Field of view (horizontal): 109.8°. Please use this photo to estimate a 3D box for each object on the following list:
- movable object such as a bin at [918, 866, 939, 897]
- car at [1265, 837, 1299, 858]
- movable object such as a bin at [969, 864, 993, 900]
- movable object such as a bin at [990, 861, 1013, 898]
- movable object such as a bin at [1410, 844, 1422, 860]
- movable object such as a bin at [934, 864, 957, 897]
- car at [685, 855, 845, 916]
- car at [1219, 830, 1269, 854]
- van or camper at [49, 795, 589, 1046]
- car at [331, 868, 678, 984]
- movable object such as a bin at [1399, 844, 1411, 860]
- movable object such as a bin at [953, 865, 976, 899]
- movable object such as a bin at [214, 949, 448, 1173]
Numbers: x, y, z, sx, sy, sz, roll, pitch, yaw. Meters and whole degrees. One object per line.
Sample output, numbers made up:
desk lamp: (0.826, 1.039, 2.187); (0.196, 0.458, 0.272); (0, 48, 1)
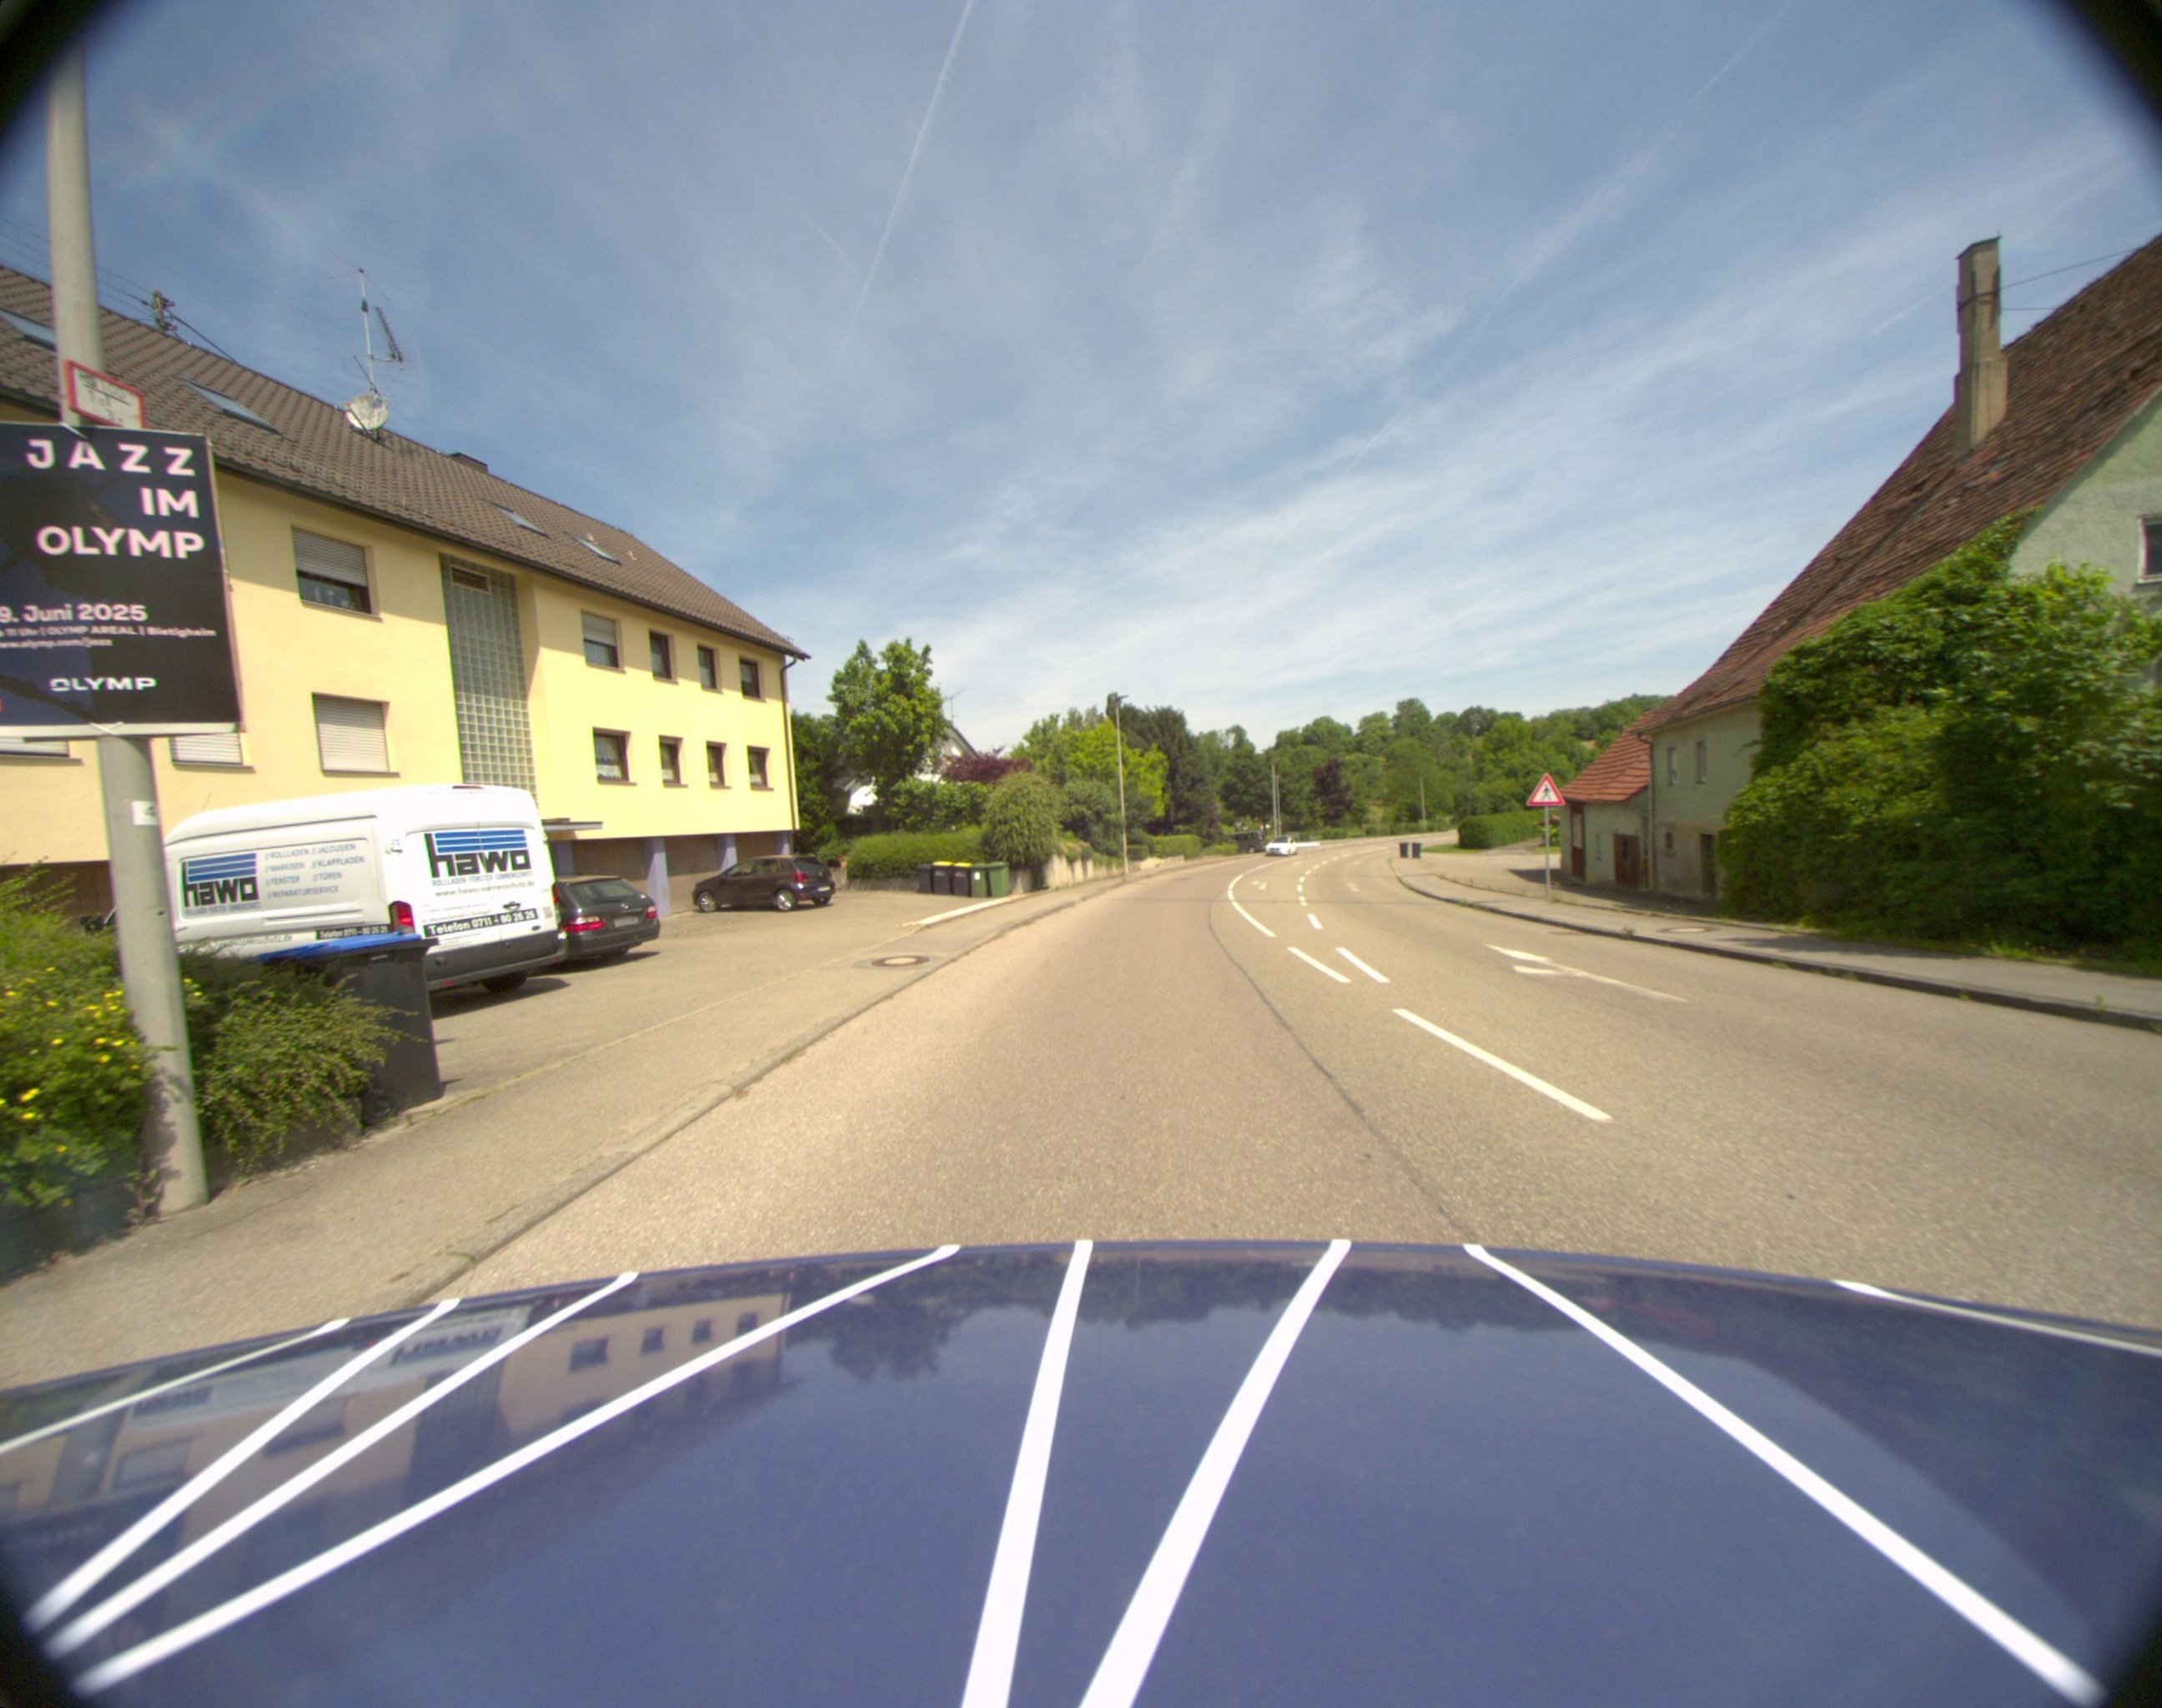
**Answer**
movable object such as a bin: (-4.809, 0.858, 24.022); (0.449, 0.950, 0.516); (2, 2, 15)
car: (16.243, -0.557, 61.219); (1.823, 1.543, 4.006); (0, 2, 28)
movable object such as a bin: (-3.087, 0.851, 23.520); (0.485, 1.064, 0.565); (-2, 1, 19)
movable object such as a bin: (-2.447, 0.790, 23.368); (0.485, 1.101, 0.565); (-2, 1, 14)
movable object such as a bin: (22.596, -0.117, 51.231); (0.534, 1.044, 0.541); (-3, 1, 4)
movable object such as a bin: (-4.256, 0.823, 23.908); (0.485, 1.016, 0.565); (1, 2, 19)
car: (-8.509, 0.848, 20.526); (3.686, 1.410, 1.646); (-2, 2, 16)
car: (14.452, -1.038, 67.446); (3.901, 1.938, 1.959); (-2, 1, 30)
van or camper: (-9.624, 0.800, 9.796); (5.235, 2.632, 2.286); (-4, 3, 14)
car: (-9.476, 1.166, 12.627); (4.706, 1.555, 1.910); (-2, 3, 13)
movable object such as a bin: (22.520, -0.171, 52.847); (0.553, 1.075, 0.541); (-3, 1, 4)
movable object such as a bin: (-3.638, 0.866, 23.729); (0.485, 1.016, 0.565); (1, 2, 19)
movable object such as a bin: (-4.294, 1.157, 4.399); (0.551, 1.062, 0.659); (-8, 0, 6)
